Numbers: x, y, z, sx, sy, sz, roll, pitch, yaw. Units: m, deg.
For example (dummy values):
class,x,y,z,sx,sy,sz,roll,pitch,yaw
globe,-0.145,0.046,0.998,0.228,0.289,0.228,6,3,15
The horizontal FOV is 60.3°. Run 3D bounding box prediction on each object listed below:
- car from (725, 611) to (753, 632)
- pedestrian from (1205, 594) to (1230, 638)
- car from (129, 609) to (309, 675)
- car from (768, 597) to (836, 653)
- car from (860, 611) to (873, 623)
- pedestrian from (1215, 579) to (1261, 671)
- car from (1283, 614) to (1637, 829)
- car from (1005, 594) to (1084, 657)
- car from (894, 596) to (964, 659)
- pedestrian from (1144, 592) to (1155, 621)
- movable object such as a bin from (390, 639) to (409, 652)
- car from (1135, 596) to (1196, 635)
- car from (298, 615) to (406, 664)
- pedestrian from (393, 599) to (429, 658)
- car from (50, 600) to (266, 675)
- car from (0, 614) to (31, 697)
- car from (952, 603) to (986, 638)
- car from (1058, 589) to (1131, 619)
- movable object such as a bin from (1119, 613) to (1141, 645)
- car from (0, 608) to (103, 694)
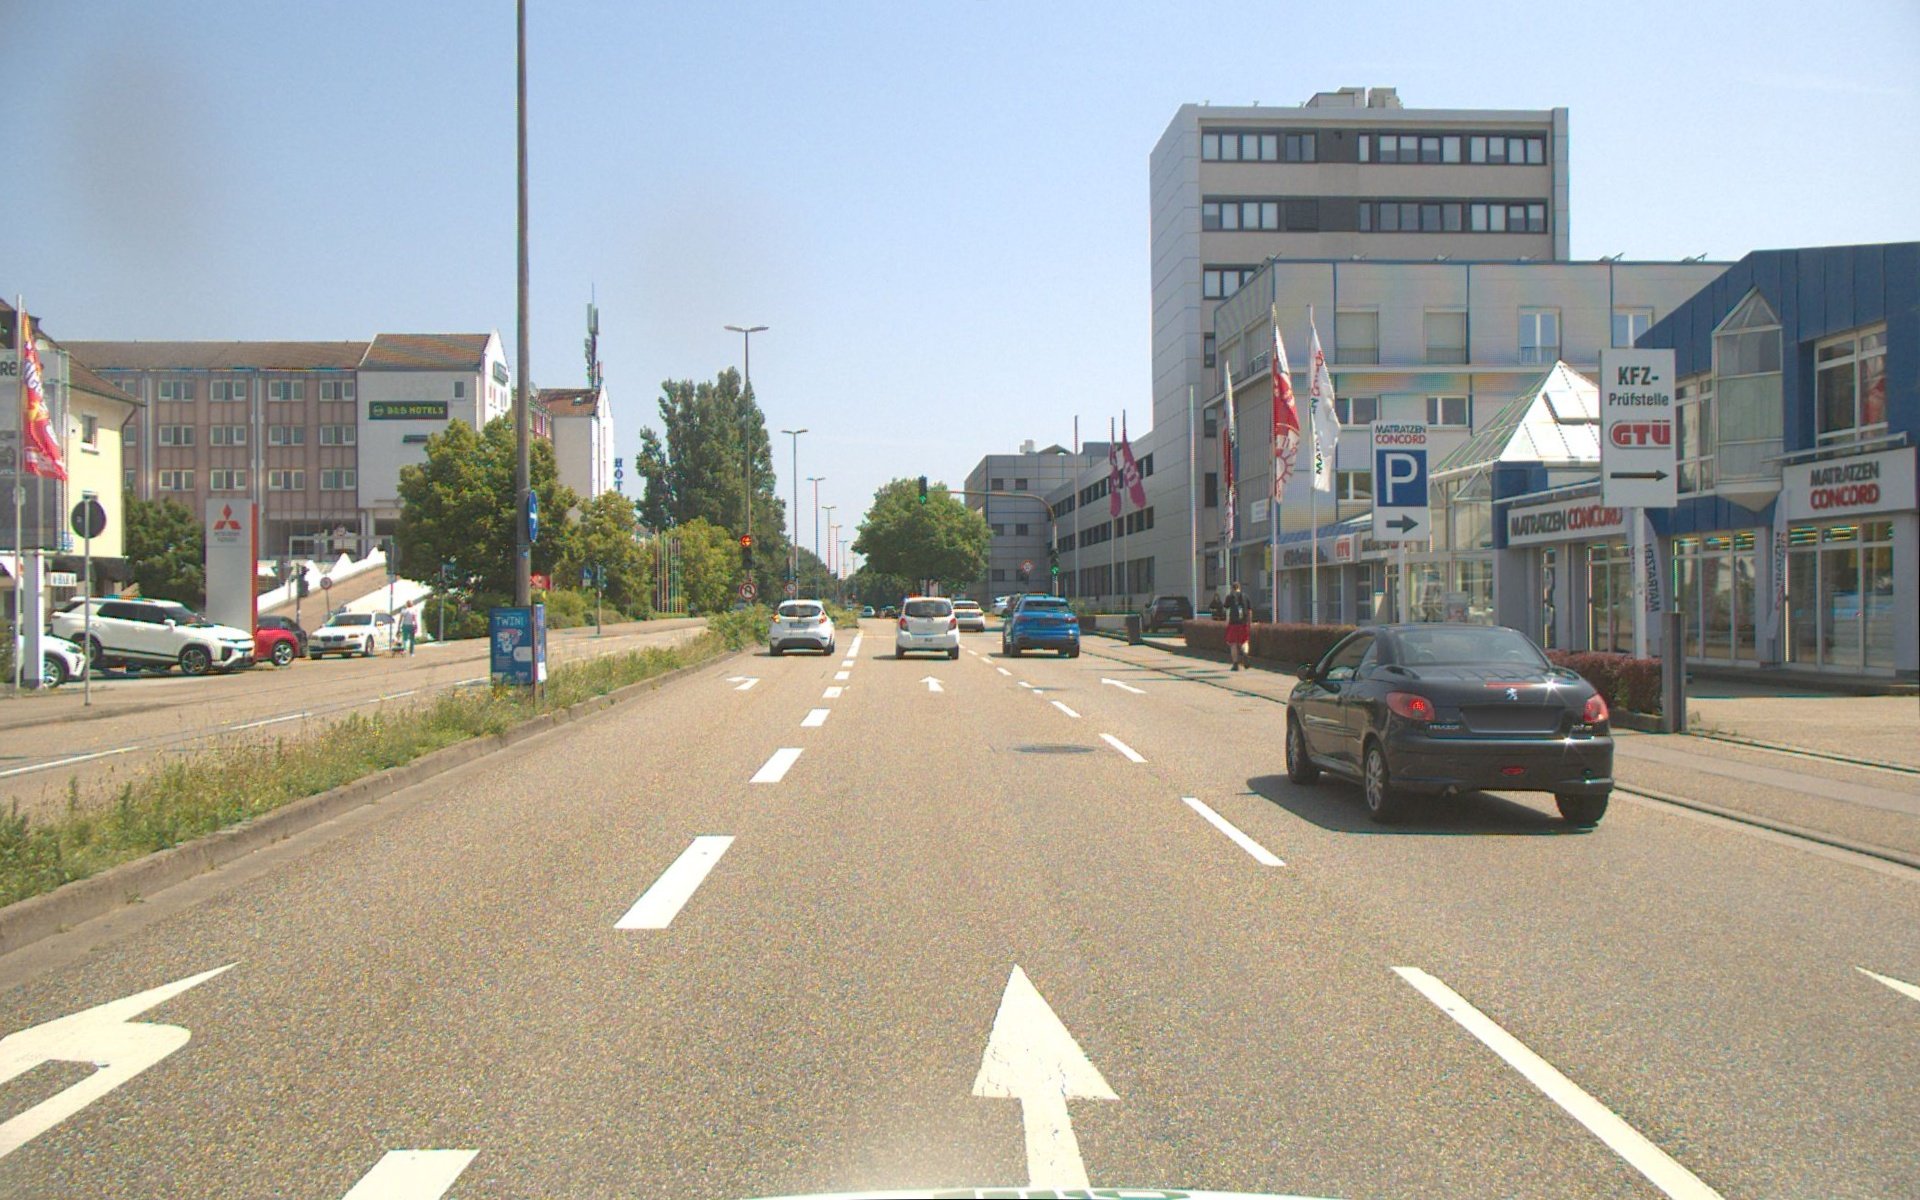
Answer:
class,x,y,z,sx,sy,sz,roll,pitch,yaw
car,-17.053,1.633,127.665,1.955,1.512,4.495,-1,0,-6
pedestrian,9.776,0.615,62.789,0.793,1.655,0.853,-1,0,0
car,-20.212,1.107,45.268,1.802,1.671,4.164,-1,0,35
car,-4.272,0.659,45.217,1.655,1.459,3.709,-1,0,-3
car,-13.802,2.460,244.496,1.783,1.691,3.996,-1,0,-4
pedestrian,5.806,0.512,34.569,0.769,1.879,0.936,-1,0,-1
car,3.652,0.818,12.713,1.594,1.388,3.604,0,0,-1
car,2.242,0.651,44.555,1.791,1.608,3.603,-1,0,-2
car,-0.830,0.674,42.854,1.713,1.547,3.744,0,0,-2
pedestrian,10.983,0.371,96.009,0.580,1.663,0.523,-1,0,5
movable object such as a bin,-17.013,1.371,50.235,0.408,0.378,0.506,-1,0,-2
car,8.550,0.618,69.078,1.807,1.558,4.194,1,0,-3
car,-19.595,1.243,53.498,1.739,1.435,4.758,-1,0,0
pedestrian,-16.833,0.868,50.734,0.725,1.777,1.033,-1,0,-1
car,-19.857,0.912,41.084,4.457,1.739,1.758,-1,0,-5
car,-19.322,1.031,30.003,3.909,1.492,1.758,-1,0,-5
car,0.395,0.913,76.395,1.527,1.546,3.605,-1,0,0
car,8.359,0.245,103.032,4.179,1.718,1.996,-1,0,-8
movable object such as a bin,5.208,0.881,50.759,0.540,0.935,0.652,-4,0,-3
car,-19.418,1.028,32.892,3.962,1.652,1.735,-1,0,-40
